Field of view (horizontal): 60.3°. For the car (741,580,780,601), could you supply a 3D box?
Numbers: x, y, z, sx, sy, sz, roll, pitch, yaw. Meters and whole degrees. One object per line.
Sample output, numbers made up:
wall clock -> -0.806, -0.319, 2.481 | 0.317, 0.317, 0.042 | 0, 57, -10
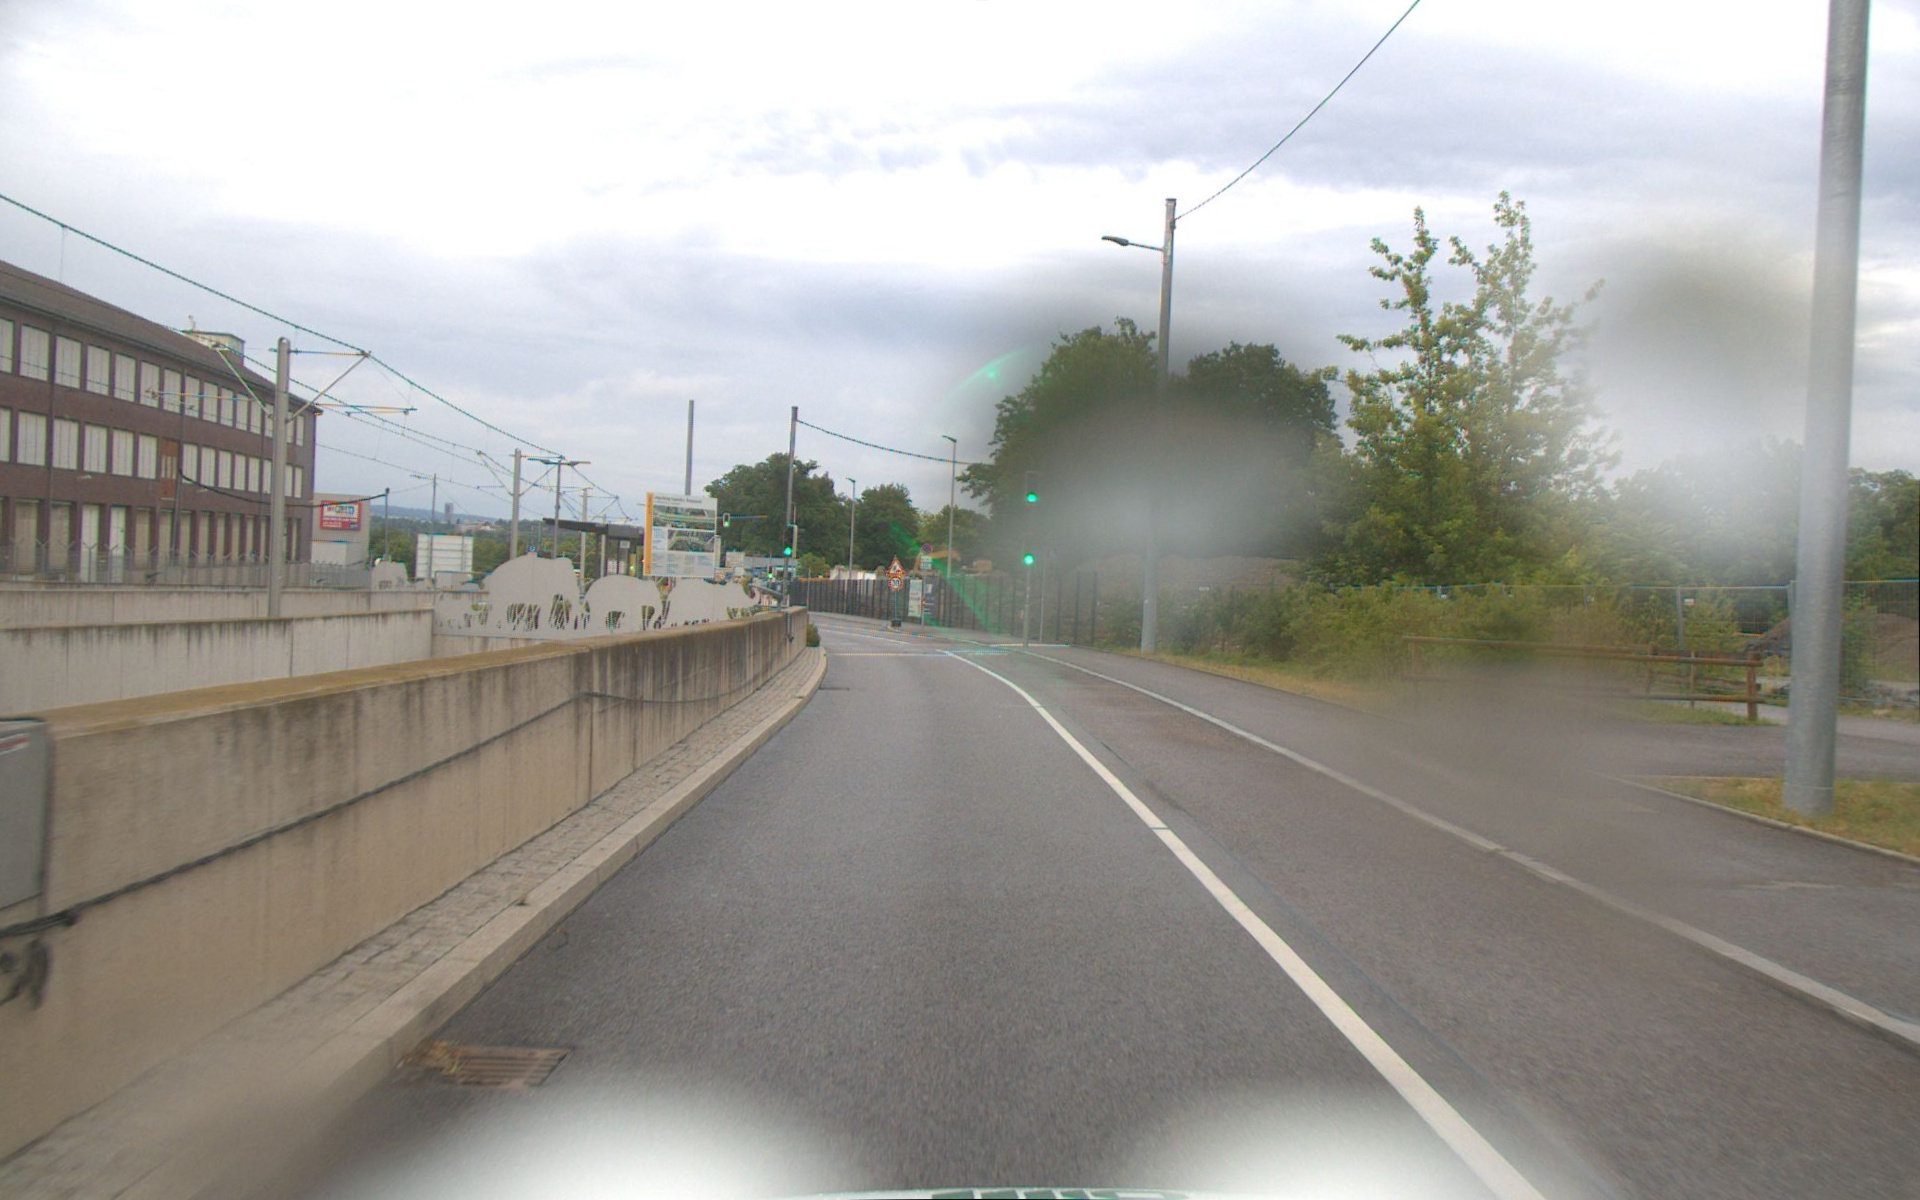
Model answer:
car -> -17.872, -0.821, 148.591 | 1.781, 1.825, 4.411 | 1, 0, 17

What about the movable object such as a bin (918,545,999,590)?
movable object such as a bin -> -0.191, -4.523, 231.149 | 11.014, 6.100, 3.487 | 1, 0, -6
